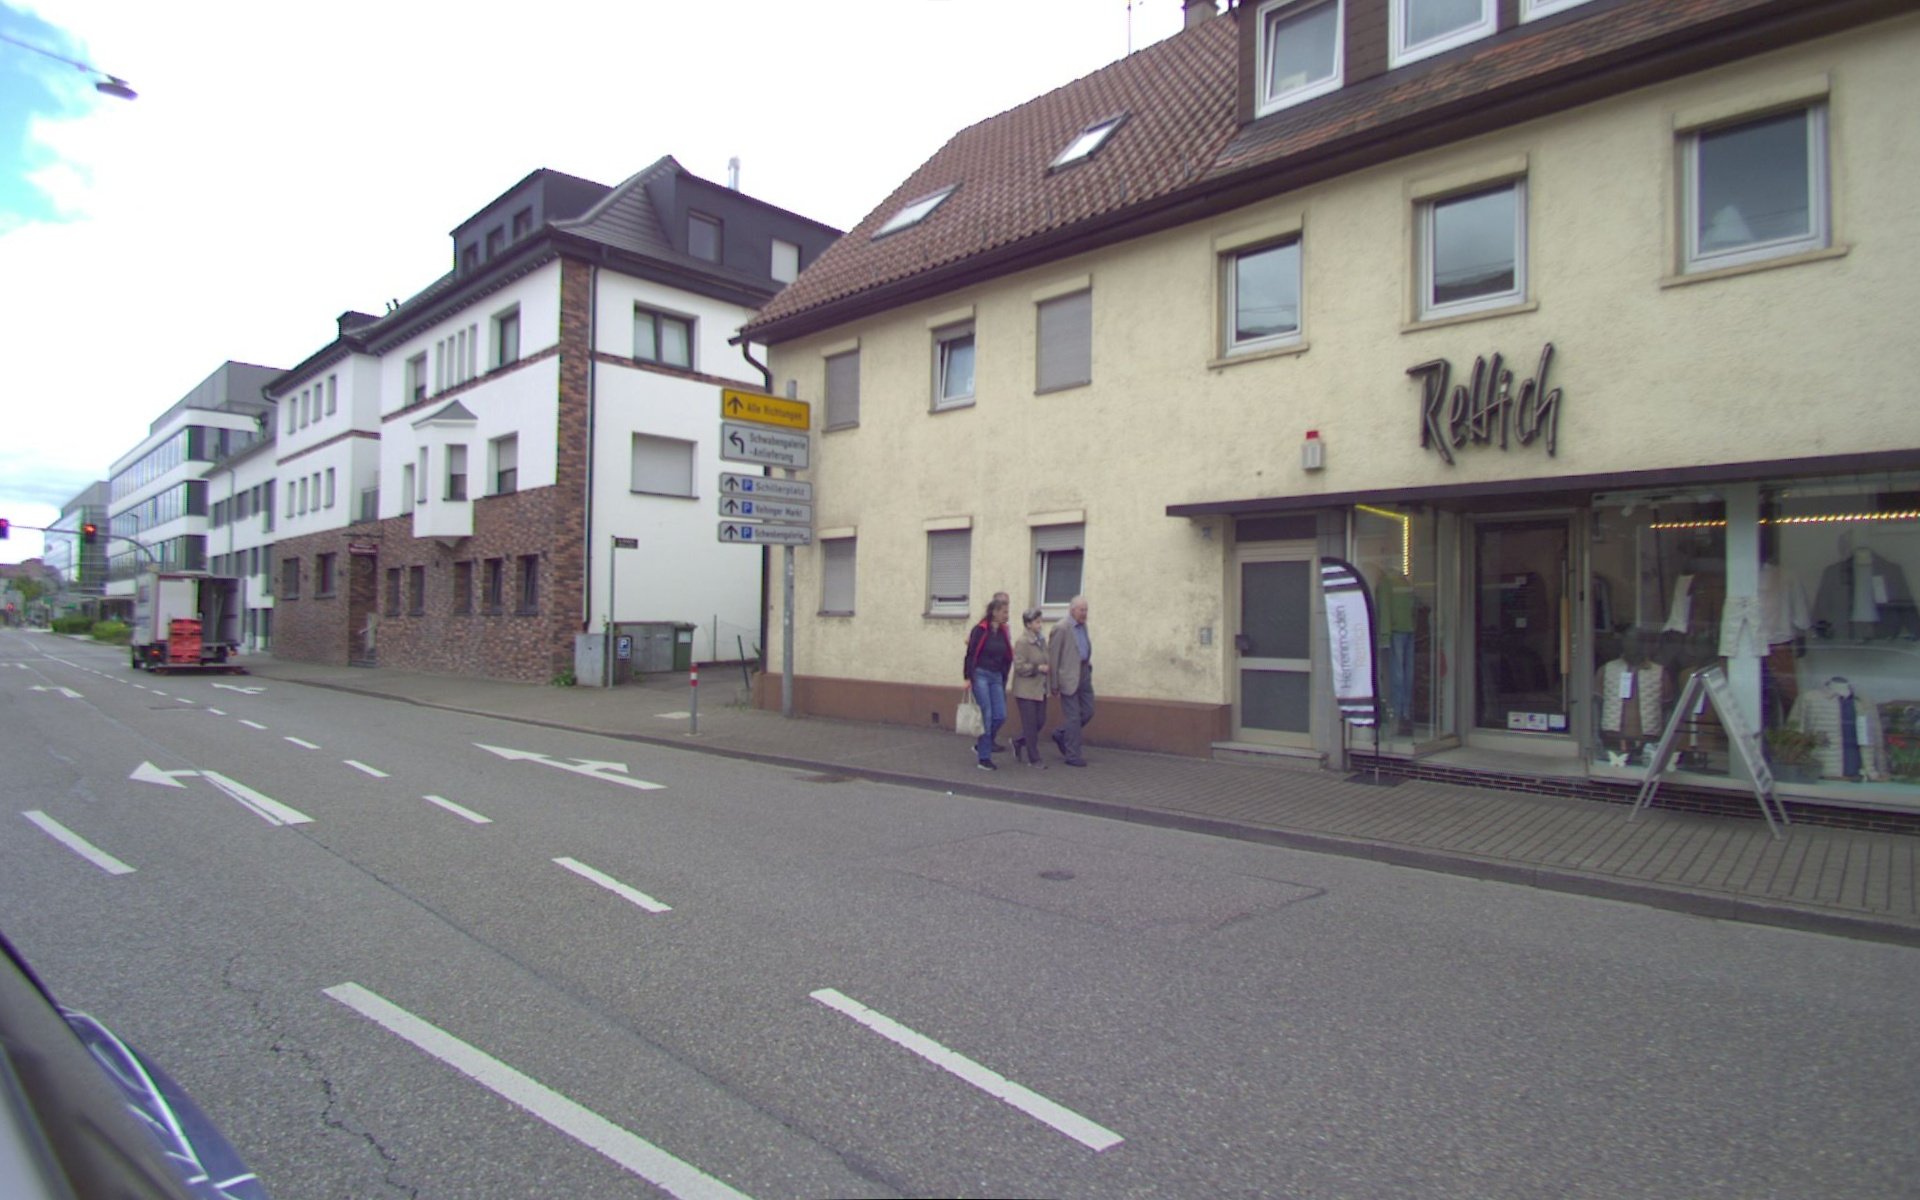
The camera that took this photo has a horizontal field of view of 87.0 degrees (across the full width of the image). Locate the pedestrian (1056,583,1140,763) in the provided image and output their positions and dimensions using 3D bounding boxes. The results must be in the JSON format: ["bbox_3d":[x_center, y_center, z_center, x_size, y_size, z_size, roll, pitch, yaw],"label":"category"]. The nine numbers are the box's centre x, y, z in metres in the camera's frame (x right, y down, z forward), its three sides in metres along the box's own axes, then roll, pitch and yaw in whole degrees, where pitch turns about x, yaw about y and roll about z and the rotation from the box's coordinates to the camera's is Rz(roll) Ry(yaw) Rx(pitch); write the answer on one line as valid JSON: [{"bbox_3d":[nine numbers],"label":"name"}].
[{"bbox_3d":[1.401,0.723,10.270,0.648,1.750,0.547,-1,-2,44],"label":"pedestrian"}]

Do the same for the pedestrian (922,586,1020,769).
[{"bbox_3d":[0.108,0.752,10.154,0.717,1.750,0.670,-1,-2,44],"label":"pedestrian"}]

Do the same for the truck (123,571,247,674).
[{"bbox_3d":[-24.799,0.686,32.277,2.434,2.993,5.968,0,-1,-45],"label":"truck"}]

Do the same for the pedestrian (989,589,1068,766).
[{"bbox_3d":[0.708,0.775,10.399,0.648,1.750,0.490,-1,-2,45],"label":"pedestrian"}]

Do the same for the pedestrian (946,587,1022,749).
[{"bbox_3d":[0.271,0.743,11.370,0.648,1.750,0.547,-1,-2,44],"label":"pedestrian"}]
